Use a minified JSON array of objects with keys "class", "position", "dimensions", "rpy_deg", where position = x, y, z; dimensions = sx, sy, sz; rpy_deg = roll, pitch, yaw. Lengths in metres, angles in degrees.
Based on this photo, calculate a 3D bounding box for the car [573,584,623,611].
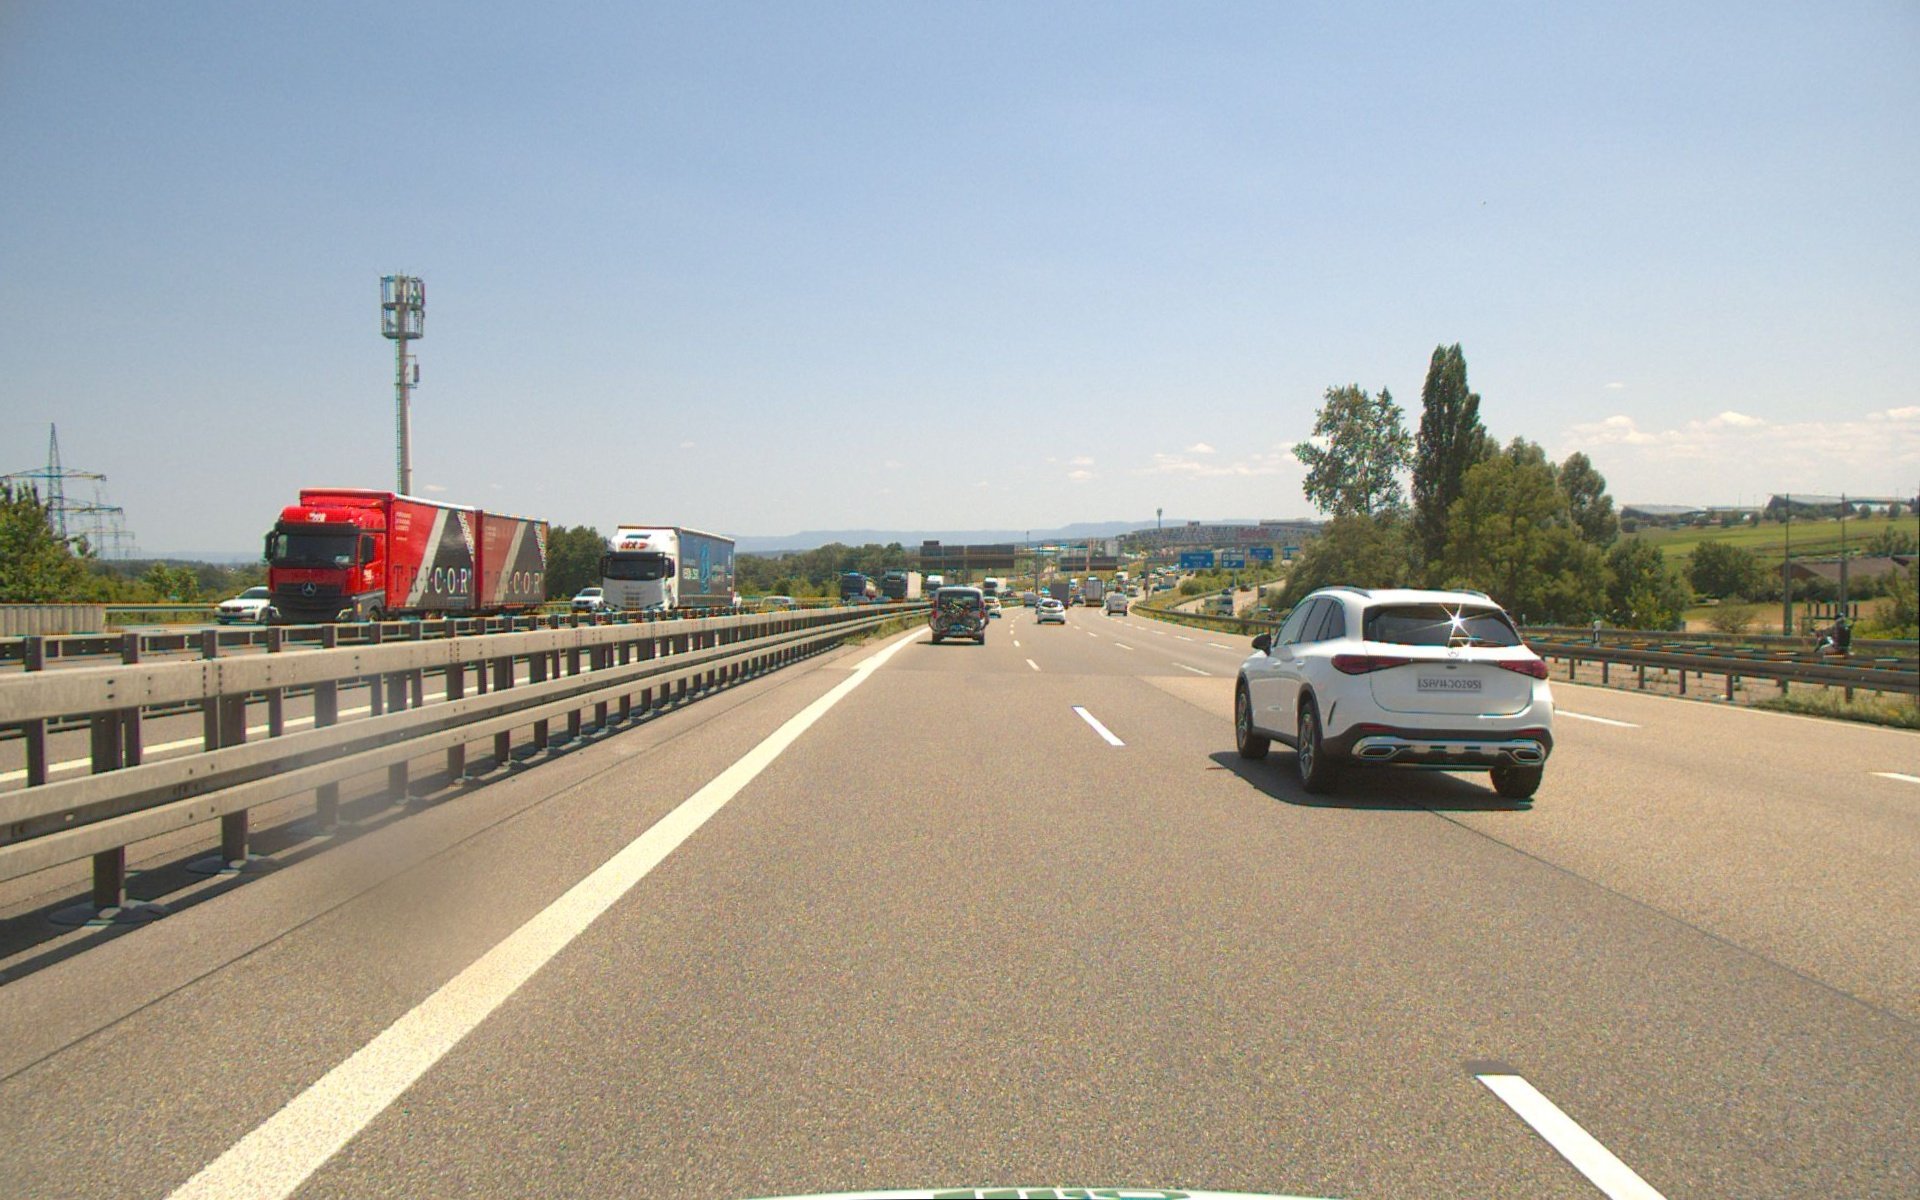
[{"class":"car","position":[-23.188,-0.159,106.008],"dimensions":[1.642,1.641,4.406],"rpy_deg":[1,0,8]}]

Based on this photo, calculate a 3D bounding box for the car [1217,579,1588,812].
[{"class":"car","position":[3.658,0.715,14.692],"dimensions":[1.859,1.676,4.997],"rpy_deg":[1,0,-1]}]

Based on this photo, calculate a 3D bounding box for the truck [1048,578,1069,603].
[{"class":"truck","position":[12.852,-1.177,215.220],"dimensions":[2.646,3.163,10.663],"rpy_deg":[1,0,3]}]

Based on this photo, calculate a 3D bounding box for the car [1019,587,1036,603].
[{"class":"car","position":[9.176,-0.657,223.542],"dimensions":[2.140,2.038,4.002],"rpy_deg":[1,0,4]}]

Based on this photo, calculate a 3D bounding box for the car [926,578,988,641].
[{"class":"car","position":[-0.078,0.311,54.398],"dimensions":[1.887,1.952,4.948],"rpy_deg":[1,0,0]}]

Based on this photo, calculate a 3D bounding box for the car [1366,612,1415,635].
[{"class":"car","position":[26.177,1.424,100.605],"dimensions":[1.666,1.299,3.996],"rpy_deg":[1,0,-4]}]

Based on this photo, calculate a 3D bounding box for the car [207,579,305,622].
[{"class":"car","position":[-27.883,0.046,65.638],"dimensions":[2.048,1.608,4.001],"rpy_deg":[1,0,2]}]

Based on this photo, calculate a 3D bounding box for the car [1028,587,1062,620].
[{"class":"car","position":[5.196,0.227,101.714],"dimensions":[1.887,1.952,4.517],"rpy_deg":[1,0,0]}]

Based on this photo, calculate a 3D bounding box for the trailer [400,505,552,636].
[{"class":"trailer","position":[-16.773,-0.945,57.996],"dimensions":[2.506,4.177,8.716],"rpy_deg":[1,0,1]}]

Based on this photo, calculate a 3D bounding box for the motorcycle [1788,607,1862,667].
[{"class":"motorcycle","position":[20.675,0.860,39.572],"dimensions":[0.744,1.390,1.869],"rpy_deg":[1,0,-1]}]

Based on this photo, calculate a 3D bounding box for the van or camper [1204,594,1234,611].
[{"class":"van or camper","position":[32.790,0.299,209.457],"dimensions":[2.481,2.049,4.452],"rpy_deg":[1,0,-8]}]

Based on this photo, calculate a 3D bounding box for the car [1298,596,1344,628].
[{"class":"car","position":[23.041,0.760,105.590],"dimensions":[1.900,1.957,4.178],"rpy_deg":[1,0,-2]}]

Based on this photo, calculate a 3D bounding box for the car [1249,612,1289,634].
[{"class":"car","position":[23.738,1.775,127.048],"dimensions":[1.955,1.624,3.995],"rpy_deg":[1,0,-6]}]

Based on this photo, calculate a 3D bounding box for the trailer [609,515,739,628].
[{"class":"trailer","position":[-12.348,-1.093,73.078],"dimensions":[2.885,4.418,14.621],"rpy_deg":[1,0,1]}]

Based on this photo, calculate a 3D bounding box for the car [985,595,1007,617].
[{"class":"car","position":[2.658,0.427,122.393],"dimensions":[1.543,1.579,3.965],"rpy_deg":[1,0,2]}]

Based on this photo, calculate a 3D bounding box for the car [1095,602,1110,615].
[{"class":"car","position":[19.320,1.178,225.003],"dimensions":[1.951,1.720,4.002],"rpy_deg":[1,0,4]}]

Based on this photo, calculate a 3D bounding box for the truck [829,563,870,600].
[{"class":"truck","position":[-12.127,-1.997,182.843],"dimensions":[3.152,3.852,12.903],"rpy_deg":[1,0,2]}]

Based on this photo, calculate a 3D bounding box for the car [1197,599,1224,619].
[{"class":"car","position":[26.382,0.925,174.074],"dimensions":[1.954,2.049,3.996],"rpy_deg":[1,0,-4]}]

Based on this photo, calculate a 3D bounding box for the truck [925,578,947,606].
[{"class":"truck","position":[-3.708,-1.216,255.395],"dimensions":[2.820,4.189,6.387],"rpy_deg":[2,0,3]}]

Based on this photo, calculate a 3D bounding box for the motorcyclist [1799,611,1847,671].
[{"class":"motorcyclist","position":[20.654,0.974,39.600],"dimensions":[0.655,1.390,0.878],"rpy_deg":[1,0,-1]}]

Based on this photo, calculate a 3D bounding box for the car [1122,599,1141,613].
[{"class":"car","position":[22.343,0.761,215.629],"dimensions":[1.953,1.720,4.000],"rpy_deg":[1,0,0]}]

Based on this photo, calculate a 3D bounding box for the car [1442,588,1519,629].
[{"class":"car","position":[21.205,0.354,67.578],"dimensions":[1.665,1.602,4.126],"rpy_deg":[1,0,-3]}]

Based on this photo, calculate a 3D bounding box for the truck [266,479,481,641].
[{"class":"truck","position":[-16.838,-1.037,48.439],"dimensions":[2.529,4.187,10.347],"rpy_deg":[1,0,0]}]

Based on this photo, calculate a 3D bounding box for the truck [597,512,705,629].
[{"class":"truck","position":[-12.439,-1.129,67.153],"dimensions":[2.867,4.421,6.916],"rpy_deg":[1,0,1]}]

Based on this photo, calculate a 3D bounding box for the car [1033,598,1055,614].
[{"class":"car","position":[7.867,0.544,154.492],"dimensions":[1.940,1.499,4.002],"rpy_deg":[1,0,4]}]

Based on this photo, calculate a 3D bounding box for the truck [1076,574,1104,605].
[{"class":"truck","position":[19.828,-1.631,252.009],"dimensions":[3.954,4.336,11.767],"rpy_deg":[1,2,6]}]

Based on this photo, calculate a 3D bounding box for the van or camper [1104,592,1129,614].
[{"class":"van or camper","position":[15.137,0.306,160.184],"dimensions":[2.111,2.049,4.306],"rpy_deg":[1,0,3]}]
